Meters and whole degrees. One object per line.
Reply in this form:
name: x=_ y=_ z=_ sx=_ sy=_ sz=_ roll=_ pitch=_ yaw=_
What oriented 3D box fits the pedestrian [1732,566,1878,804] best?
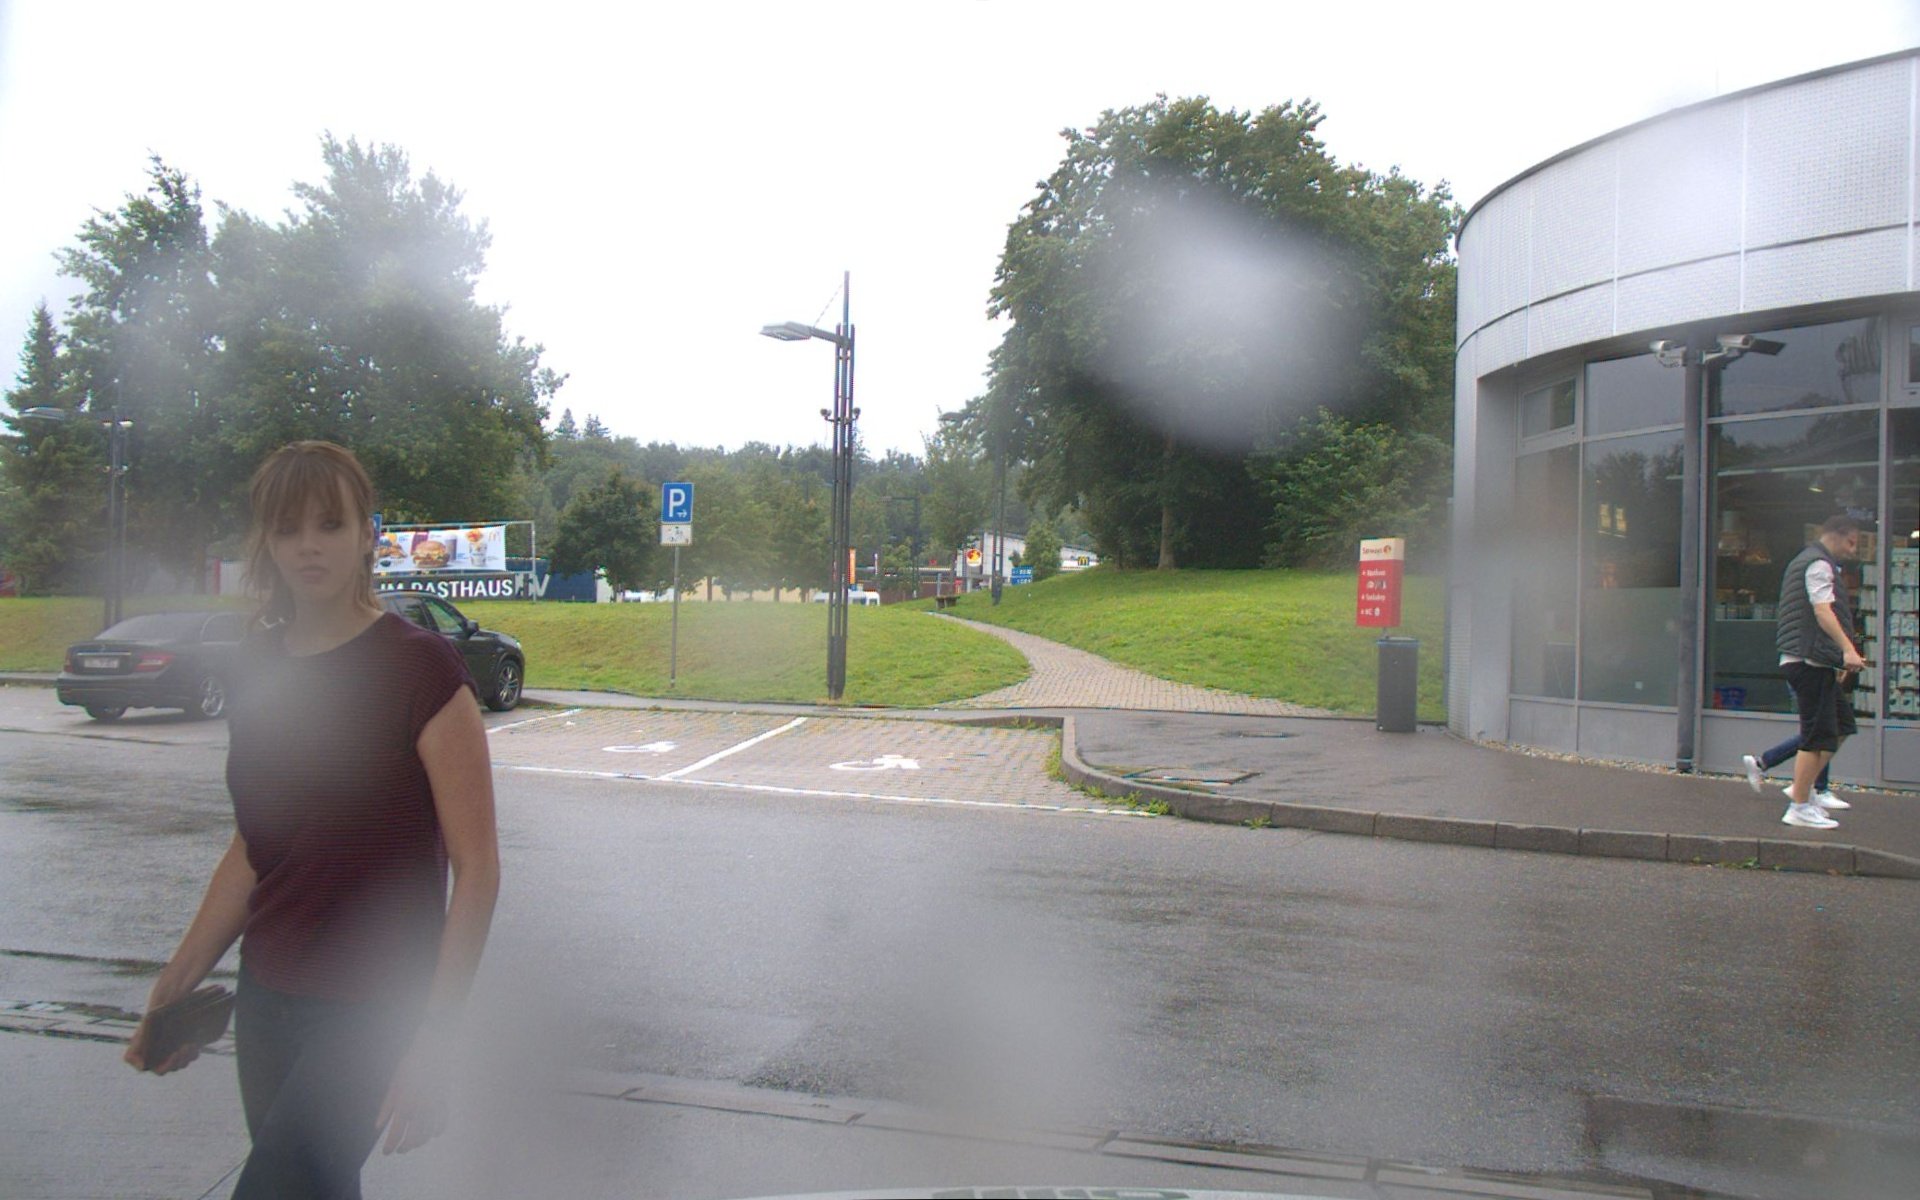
pedestrian: x=5.846 y=0.562 z=11.445 sx=0.872 sy=1.577 sz=0.659 roll=0 pitch=0 yaw=29

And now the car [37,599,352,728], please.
car: x=-10.356 y=0.788 z=22.759 sx=1.844 sy=1.592 sz=4.189 roll=0 pitch=0 yaw=11

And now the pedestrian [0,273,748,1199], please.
pedestrian: x=-0.817 y=0.532 z=2.281 sx=0.777 sy=1.765 sz=0.840 roll=0 pitch=0 yaw=15

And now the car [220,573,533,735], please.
car: x=-7.331 y=0.615 z=21.320 sx=1.844 sy=1.860 sz=4.417 roll=0 pitch=0 yaw=11

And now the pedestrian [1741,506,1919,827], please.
pedestrian: x=5.390 y=0.387 z=10.249 sx=0.954 sy=1.880 sz=0.772 roll=0 pitch=0 yaw=28

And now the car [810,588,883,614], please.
car: x=-9.161 y=0.079 z=133.629 sx=5.310 sy=2.049 sz=2.456 roll=1 pitch=0 yaw=19
